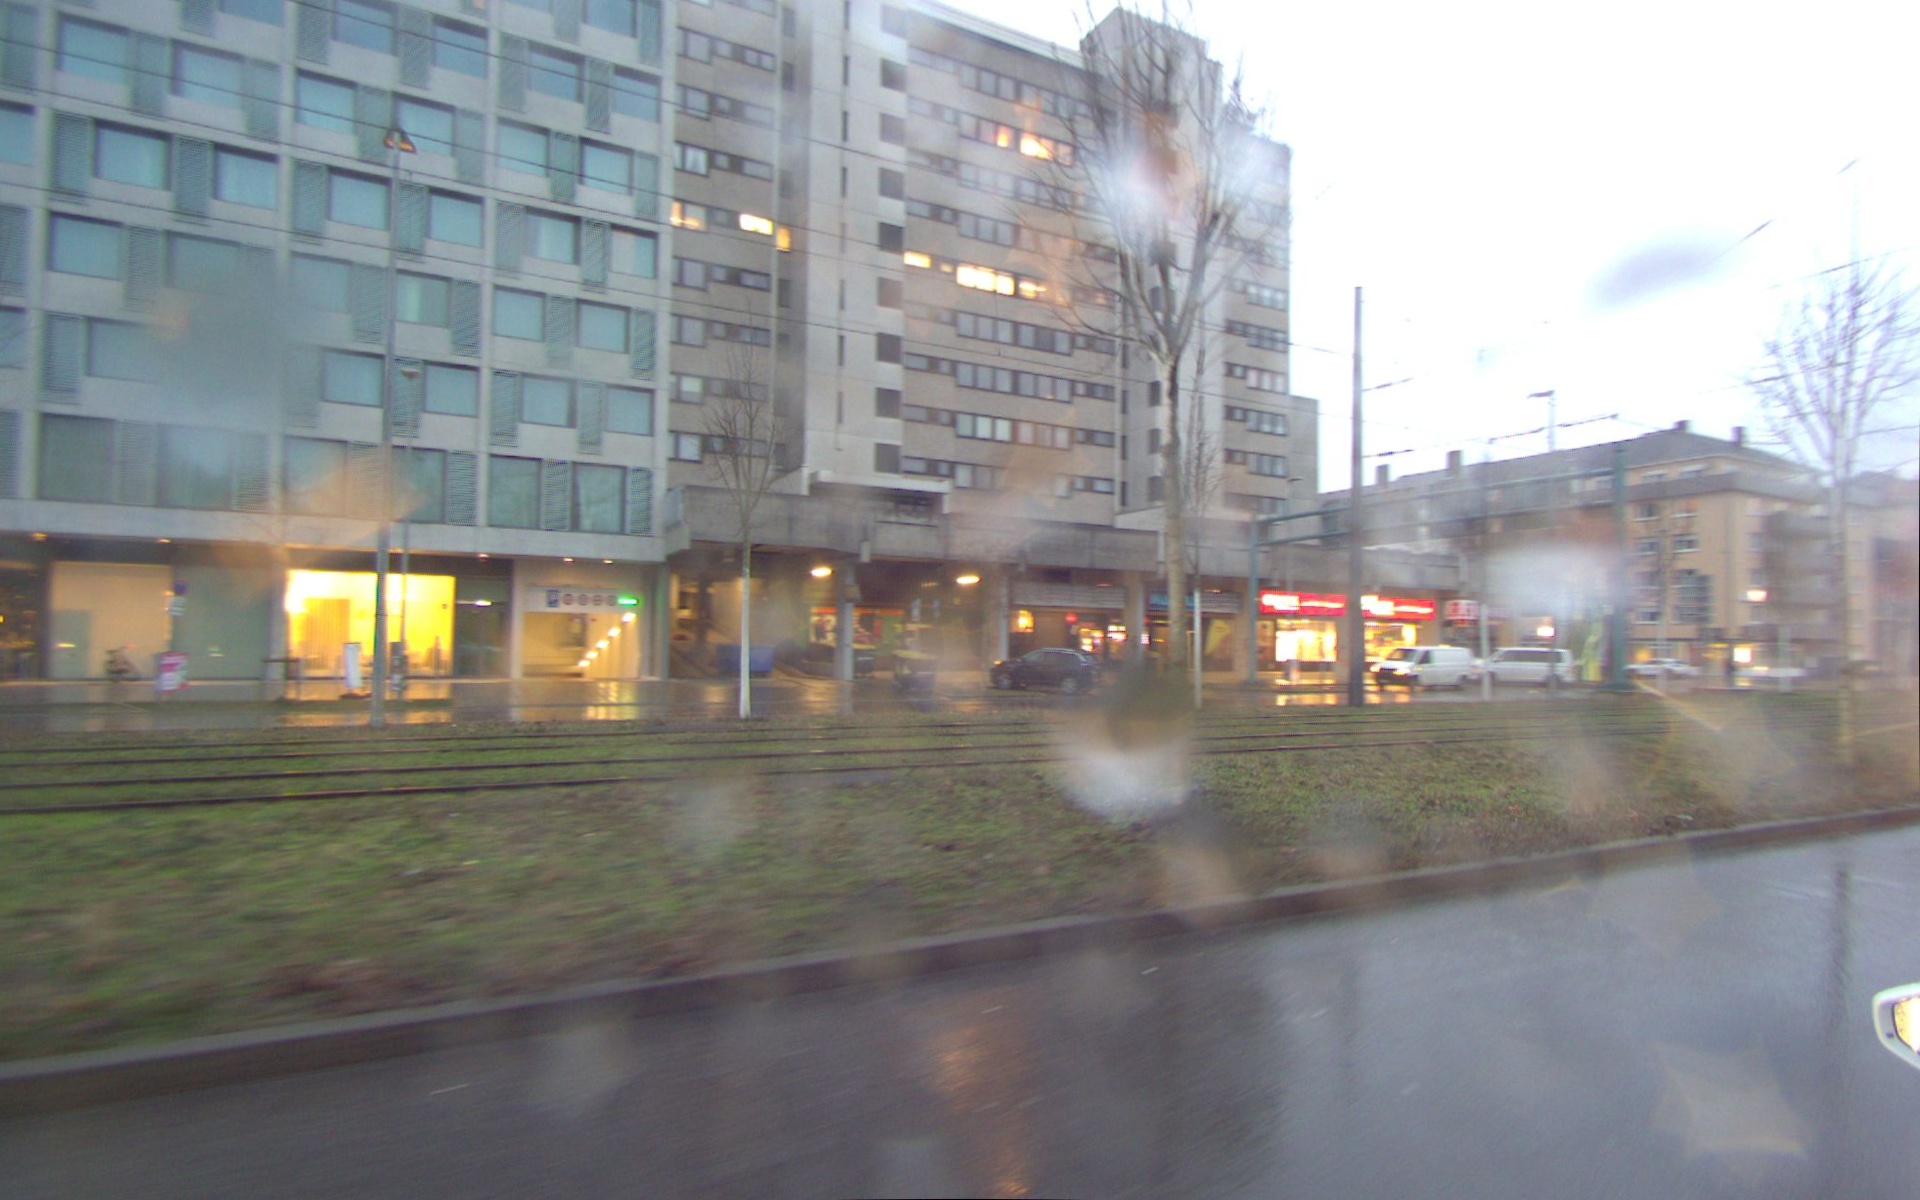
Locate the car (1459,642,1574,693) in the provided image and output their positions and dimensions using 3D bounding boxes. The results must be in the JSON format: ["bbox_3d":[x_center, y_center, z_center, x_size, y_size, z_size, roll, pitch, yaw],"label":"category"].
[{"bbox_3d":[28.260,3.406,51.161,4.735,2.273,2.001,2,-1,17],"label":"car"}]

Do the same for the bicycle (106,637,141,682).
[{"bbox_3d":[-24.869,1.747,29.875,0.460,1.254,1.528,2,-1,-29],"label":"bicycle"}]

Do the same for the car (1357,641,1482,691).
[{"bbox_3d":[20.946,3.031,45.773,5.487,2.073,1.989,3,-1,-23],"label":"car"}]

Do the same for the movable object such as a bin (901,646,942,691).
[{"bbox_3d":[-1.397,2.453,35.969,1.003,1.520,1.040,3,-1,-39],"label":"movable object such as a bin"}]

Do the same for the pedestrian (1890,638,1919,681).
[{"bbox_3d":[45.234,2.820,47.846,0.989,2.040,0.960,1,-2,-10],"label":"pedestrian"}]

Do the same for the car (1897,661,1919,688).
[{"bbox_3d":[52.006,3.991,53.469,4.262,1.350,1.852,3,-1,-28],"label":"car"}]

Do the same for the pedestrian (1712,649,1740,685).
[{"bbox_3d":[44.193,3.835,57.932,1.254,2.040,1.003,-1,-3,39],"label":"pedestrian"}]

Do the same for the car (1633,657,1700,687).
[{"bbox_3d":[53.782,5.450,76.499,1.824,1.968,3.723,3,-1,-35],"label":"car"}]

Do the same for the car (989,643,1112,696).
[{"bbox_3d":[3.378,2.553,37.636,4.069,1.715,1.981,2,-1,31],"label":"car"}]

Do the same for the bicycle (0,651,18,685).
[{"bbox_3d":[-26.973,1.906,28.178,0.460,0.865,1.339,2,-1,-29],"label":"bicycle"}]

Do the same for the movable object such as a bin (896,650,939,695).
[{"bbox_3d":[-1.468,2.477,34.516,1.022,1.445,1.061,3,-1,-39],"label":"movable object such as a bin"}]
